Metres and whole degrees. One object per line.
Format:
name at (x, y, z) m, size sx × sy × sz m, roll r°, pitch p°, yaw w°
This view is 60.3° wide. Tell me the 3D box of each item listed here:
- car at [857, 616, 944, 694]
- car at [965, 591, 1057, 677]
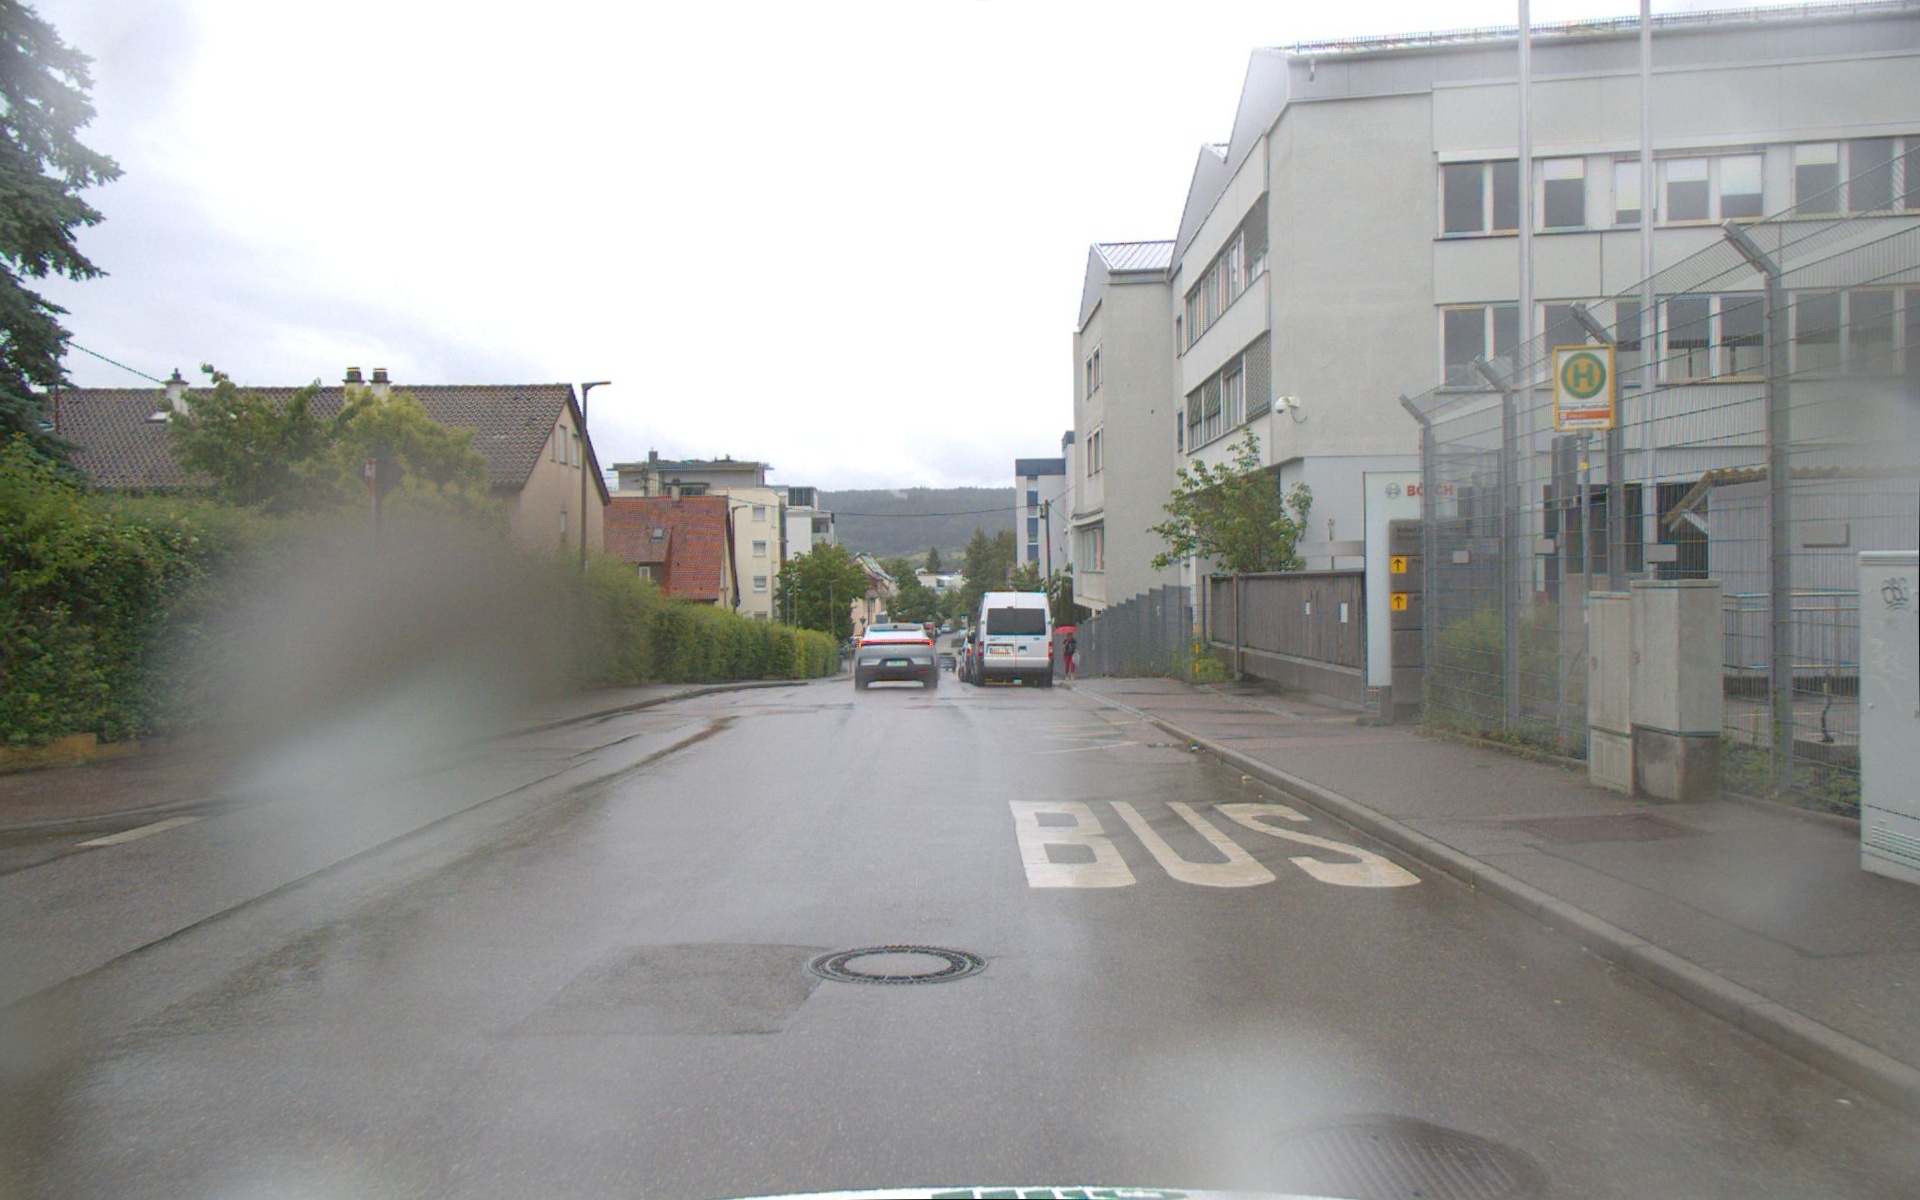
car at (-1.500, 1.282, 40.093) m, size 1.954 × 1.528 × 4.667 m, roll -1°, pitch 2°, yaw -4°
car at (1.255, 0.889, 42.490) m, size 1.954 × 2.049 × 3.996 m, roll -2°, pitch -2°, yaw -4°
